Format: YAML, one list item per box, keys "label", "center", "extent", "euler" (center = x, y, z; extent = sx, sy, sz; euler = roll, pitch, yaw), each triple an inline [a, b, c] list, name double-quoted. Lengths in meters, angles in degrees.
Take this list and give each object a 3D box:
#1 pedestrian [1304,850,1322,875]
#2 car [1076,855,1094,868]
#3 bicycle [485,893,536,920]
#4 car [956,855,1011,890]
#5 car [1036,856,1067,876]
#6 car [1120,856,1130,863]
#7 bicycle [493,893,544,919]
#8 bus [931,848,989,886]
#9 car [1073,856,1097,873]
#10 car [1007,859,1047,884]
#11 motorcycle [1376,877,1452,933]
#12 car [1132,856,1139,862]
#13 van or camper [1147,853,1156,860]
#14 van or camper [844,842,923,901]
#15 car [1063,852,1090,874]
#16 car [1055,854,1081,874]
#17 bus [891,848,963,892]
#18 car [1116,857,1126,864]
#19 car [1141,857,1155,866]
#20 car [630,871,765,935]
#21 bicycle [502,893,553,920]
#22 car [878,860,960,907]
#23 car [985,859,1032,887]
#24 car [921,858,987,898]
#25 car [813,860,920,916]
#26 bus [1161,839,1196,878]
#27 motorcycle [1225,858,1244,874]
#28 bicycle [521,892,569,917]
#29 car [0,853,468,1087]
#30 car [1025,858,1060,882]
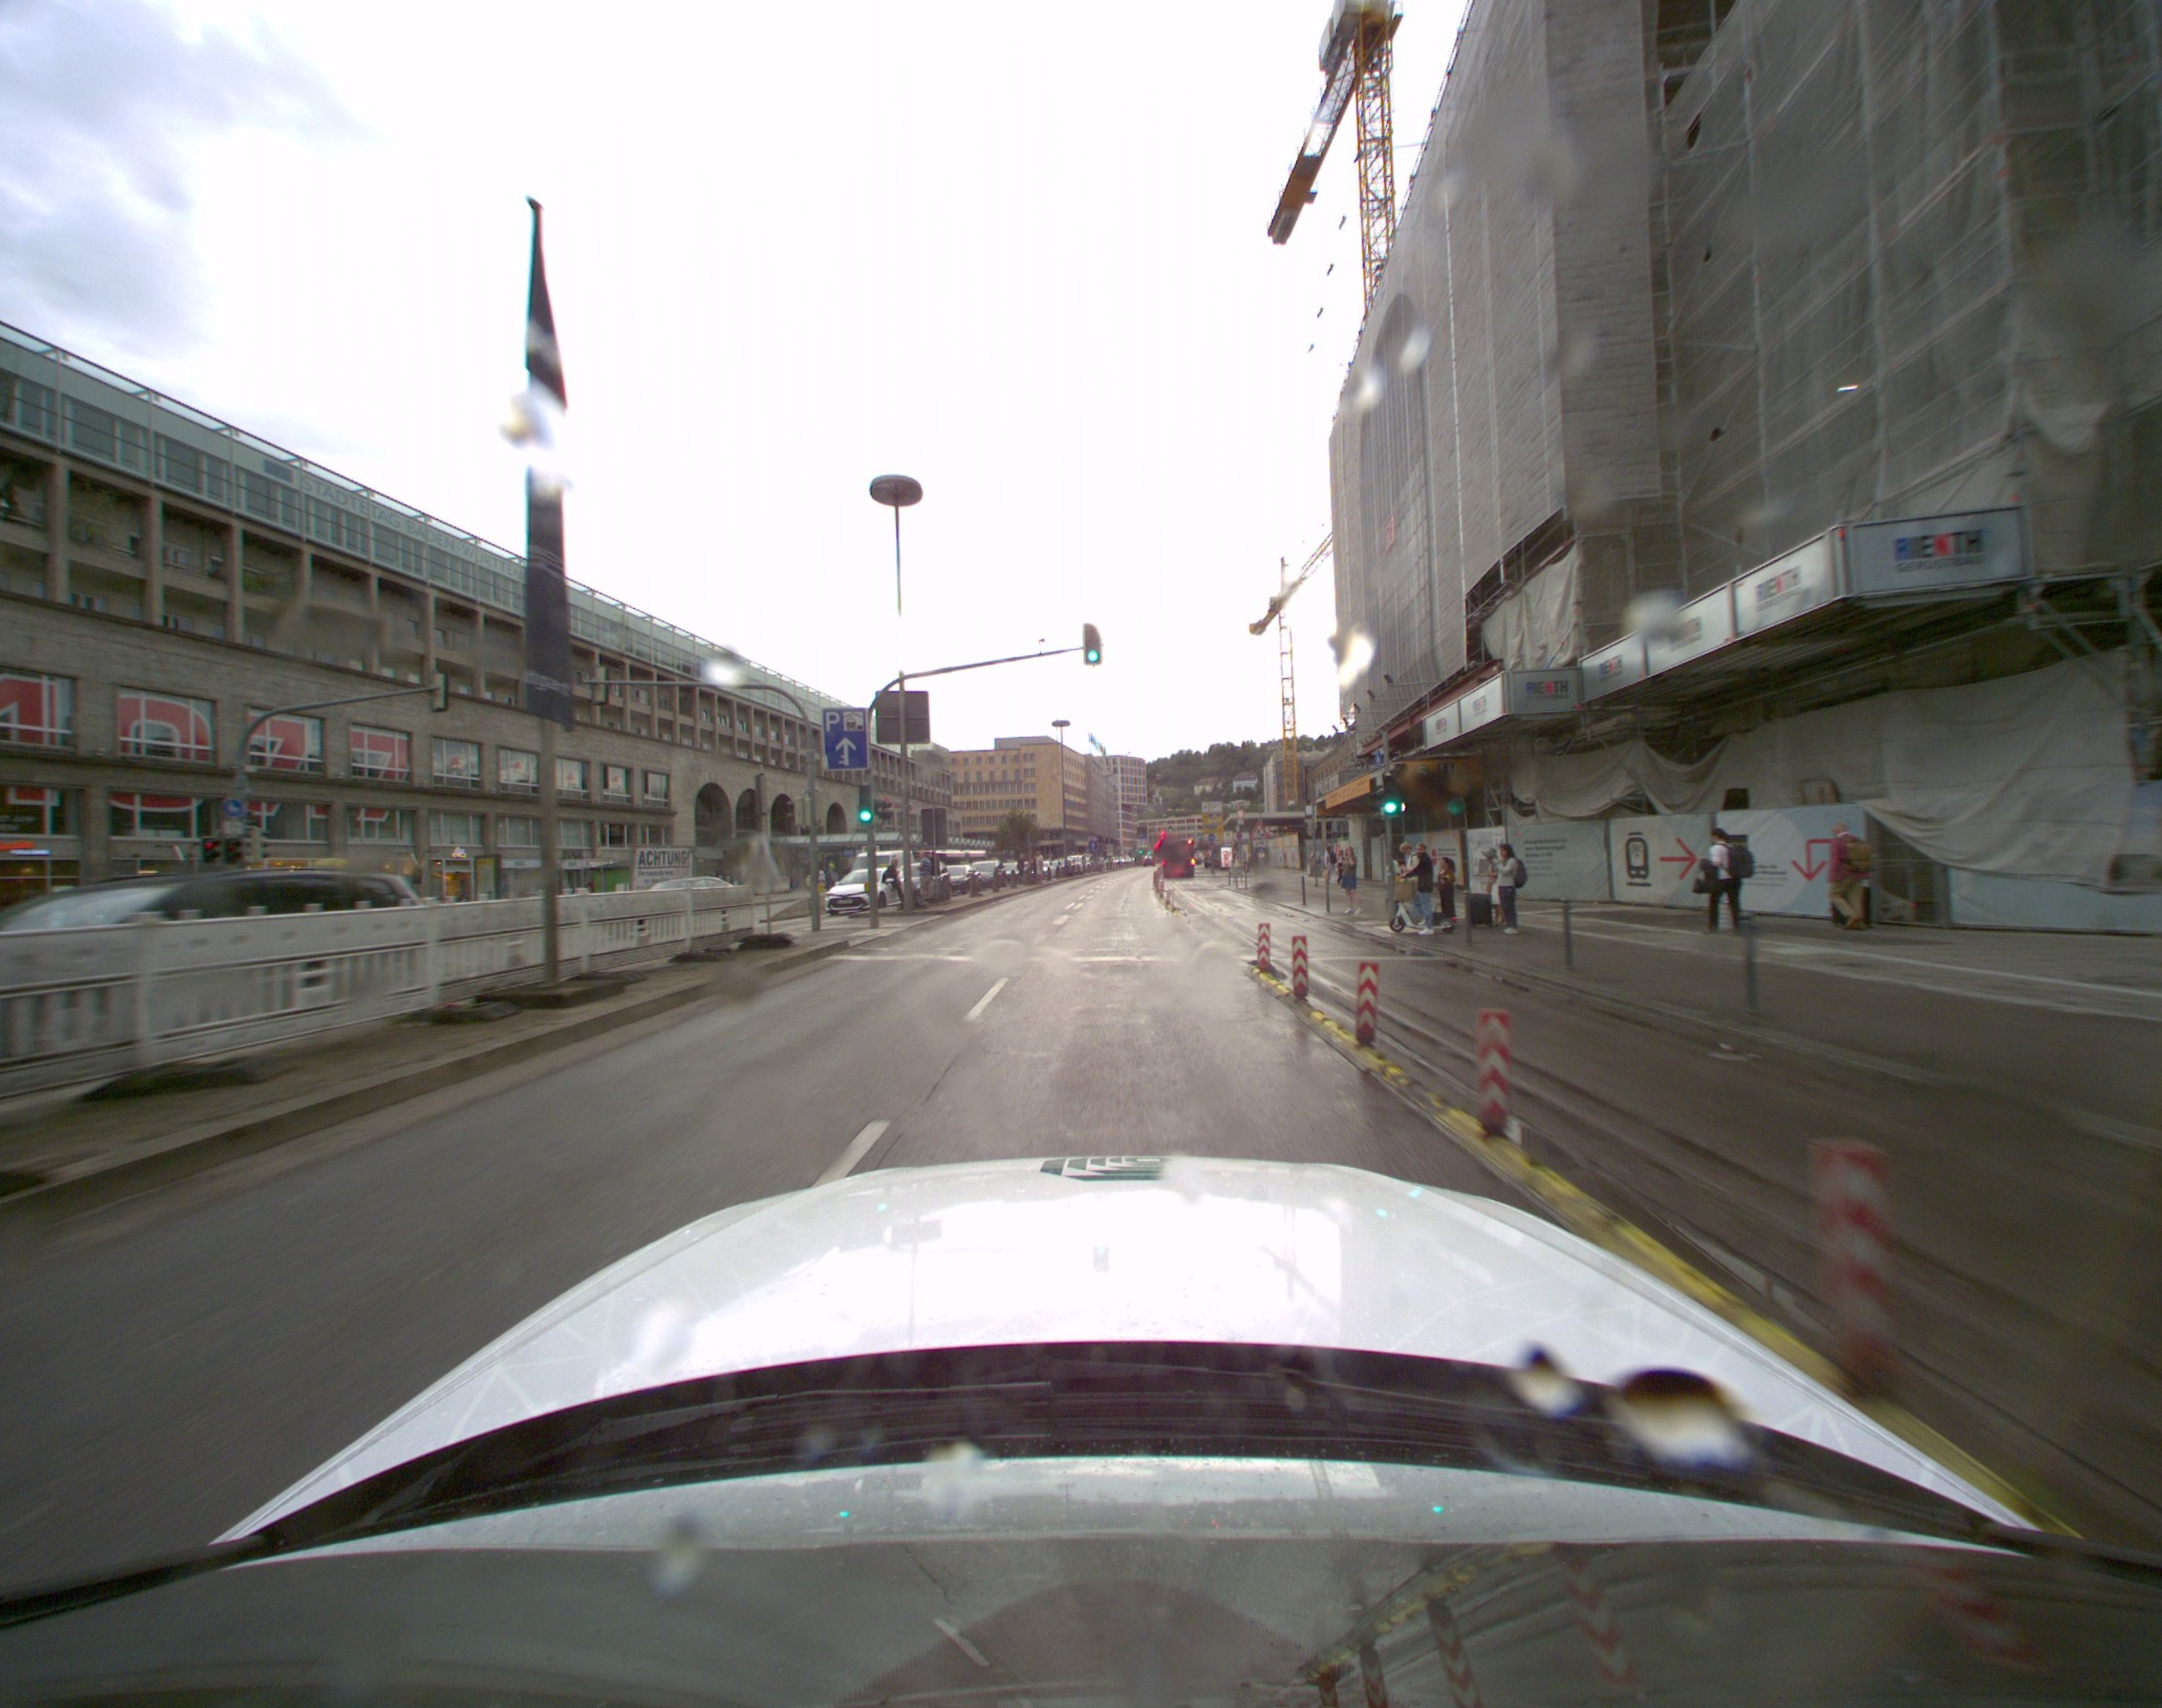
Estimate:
- label: "pedestrian"
  center: [18.565, 0.657, 65.060]
  extent: [1.057, 1.980, 1.248]
  euler: [-1, 0, 33]
- label: "car"
  center: [0.536, 0.935, 104.894]
  extent: [1.984, 1.552, 4.004]
  euler: [-2, -1, 4]
- label: "bicycle"
  center: [-29.918, 2.748, 42.727]
  extent: [2.202, 1.325, 0.591]
  euler: [-2, -1, -4]
- label: "car"
  center: [-5.305, 0.994, 44.729]
  extent: [1.920, 1.690, 4.689]
  euler: [-4, -1, 6]
- label: "car"
  center: [-2.475, 1.026, 70.176]
  extent: [1.920, 1.577, 5.060]
  euler: [-4, -1, 5]
- label: "car"
  center: [10.327, 1.332, 192.596]
  extent: [1.952, 1.564, 4.844]
  euler: [-4, 0, 7]
- label: "bicycle"
  center: [-29.967, 2.767, 43.394]
  extent: [2.202, 1.325, 0.560]
  euler: [-2, -1, -4]
- label: "bus"
  center: [-11.722, 1.220, 80.231]
  extent: [2.862, 3.459, 10.594]
  euler: [-2, 0, 7]
- label: "car"
  center: [0.450, 1.159, 92.380]
  extent: [1.982, 1.722, 4.792]
  euler: [-2, 0, 8]
- label: "car"
  center: [-3.808, 1.220, 58.285]
  extent: [1.920, 1.577, 5.019]
  euler: [-4, -1, 5]
- label: "motorcycle"
  center: [6.487, 0.970, 15.890]
  extent: [0.589, 1.021, 1.226]
  euler: [-1, -1, -37]
- label: "car"
  center: [16.314, 1.539, 243.535]
  extent: [1.952, 1.564, 4.844]
  euler: [-4, 0, 7]
- label: "van or camper"
  center: [21.741, 0.900, 250.951]
  extent: [1.981, 2.014, 5.203]
  euler: [-2, -1, 10]
- label: "van or camper"
  center: [-9.520, 0.803, 39.730]
  extent: [1.984, 2.514, 5.377]
  euler: [-5, -1, 5]
- label: "car"
  center: [-0.425, 0.942, 87.070]
  extent: [1.983, 2.178, 5.556]
  euler: [-2, 0, 7]
- label: "car"
  center: [-1.253, 1.013, 81.276]
  extent: [1.919, 1.806, 4.591]
  euler: [-4, -1, 7]
- label: "bus"
  center: [-12.906, 1.267, 69.516]
  extent: [2.862, 3.376, 10.594]
  euler: [-2, 0, 7]
- label: "car"
  center: [9.961, 1.607, 201.708]
  extent: [1.952, 1.564, 4.844]
  euler: [-4, 0, 7]
- label: "car"
  center: [11.544, 1.267, 140.189]
  extent: [1.982, 1.552, 4.009]
  euler: [-2, -1, 8]
- label: "car"
  center: [-11.086, 1.359, 23.900]
  extent: [1.806, 1.610, 4.048]
  euler: [-1, 0, 4]
- label: "bicycle"
  center: [-30.009, 2.849, 44.164]
  extent: [2.202, 1.325, 0.679]
  euler: [-2, -1, -4]
- label: "car"
  center: [-6.556, 1.158, 33.484]
  extent: [1.920, 1.690, 4.689]
  euler: [-4, -1, 6]
- label: "car"
  center: [-4.567, 1.199, 51.798]
  extent: [1.920, 1.577, 5.269]
  euler: [-4, -1, 6]
- label: "car"
  center: [-5.968, 1.103, 38.915]
  extent: [1.920, 1.690, 4.689]
  euler: [-4, -1, 6]
- label: "car"
  center: [-7.148, 1.075, 27.677]
  extent: [2.006, 1.621, 4.847]
  euler: [-2, 0, 4]
- label: "bus"
  center: [8.176, 0.386, 68.229]
  extent: [2.740, 3.069, 9.097]
  euler: [-1, -1, 7]
- label: "motorcycle"
  center: [11.736, 0.895, 62.284]
  extent: [1.627, 1.166, 0.579]
  euler: [0, -1, -45]
- label: "bicycle"
  center: [-30.174, 2.844, 45.845]
  extent: [2.202, 1.325, 0.679]
  euler: [-2, -1, -4]
- label: "car"
  center: [-8.738, 0.858, 7.937]
  extent: [1.895, 1.699, 4.504]
  euler: [-1, 0, 4]
- label: "car"
  center: [-3.001, 1.230, 64.397]
  extent: [1.967, 1.659, 5.200]
  euler: [-4, -1, 5]
